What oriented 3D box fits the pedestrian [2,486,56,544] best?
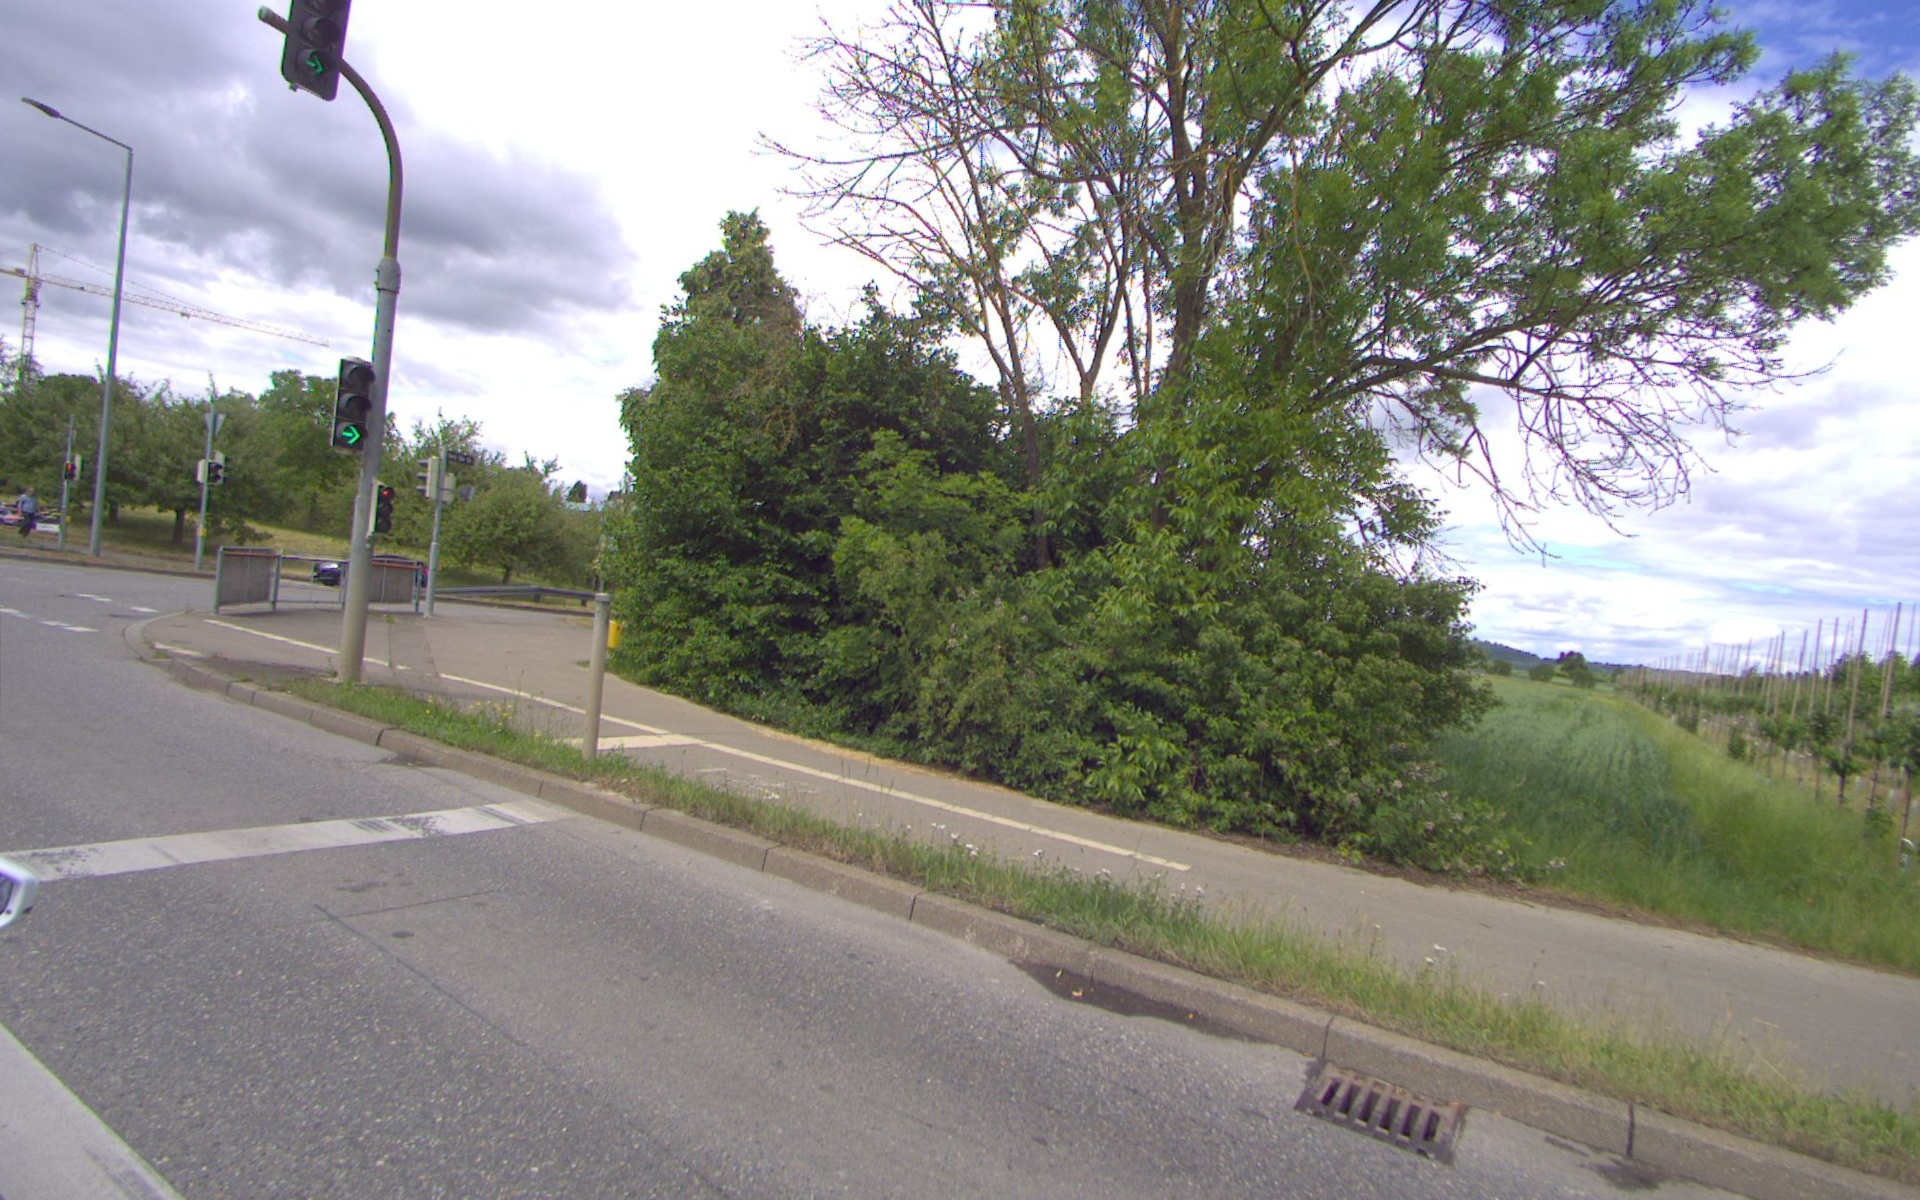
[{"bbox_3d":[-32.595,-2.965,35.234,1.024,1.813,0.721,7,-1,5],"label":"pedestrian"}]

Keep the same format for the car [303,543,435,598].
[{"bbox_3d":[-22.274,-1.081,38.017,1.736,1.463,3.874,6,-3,43],"label":"car"}]
